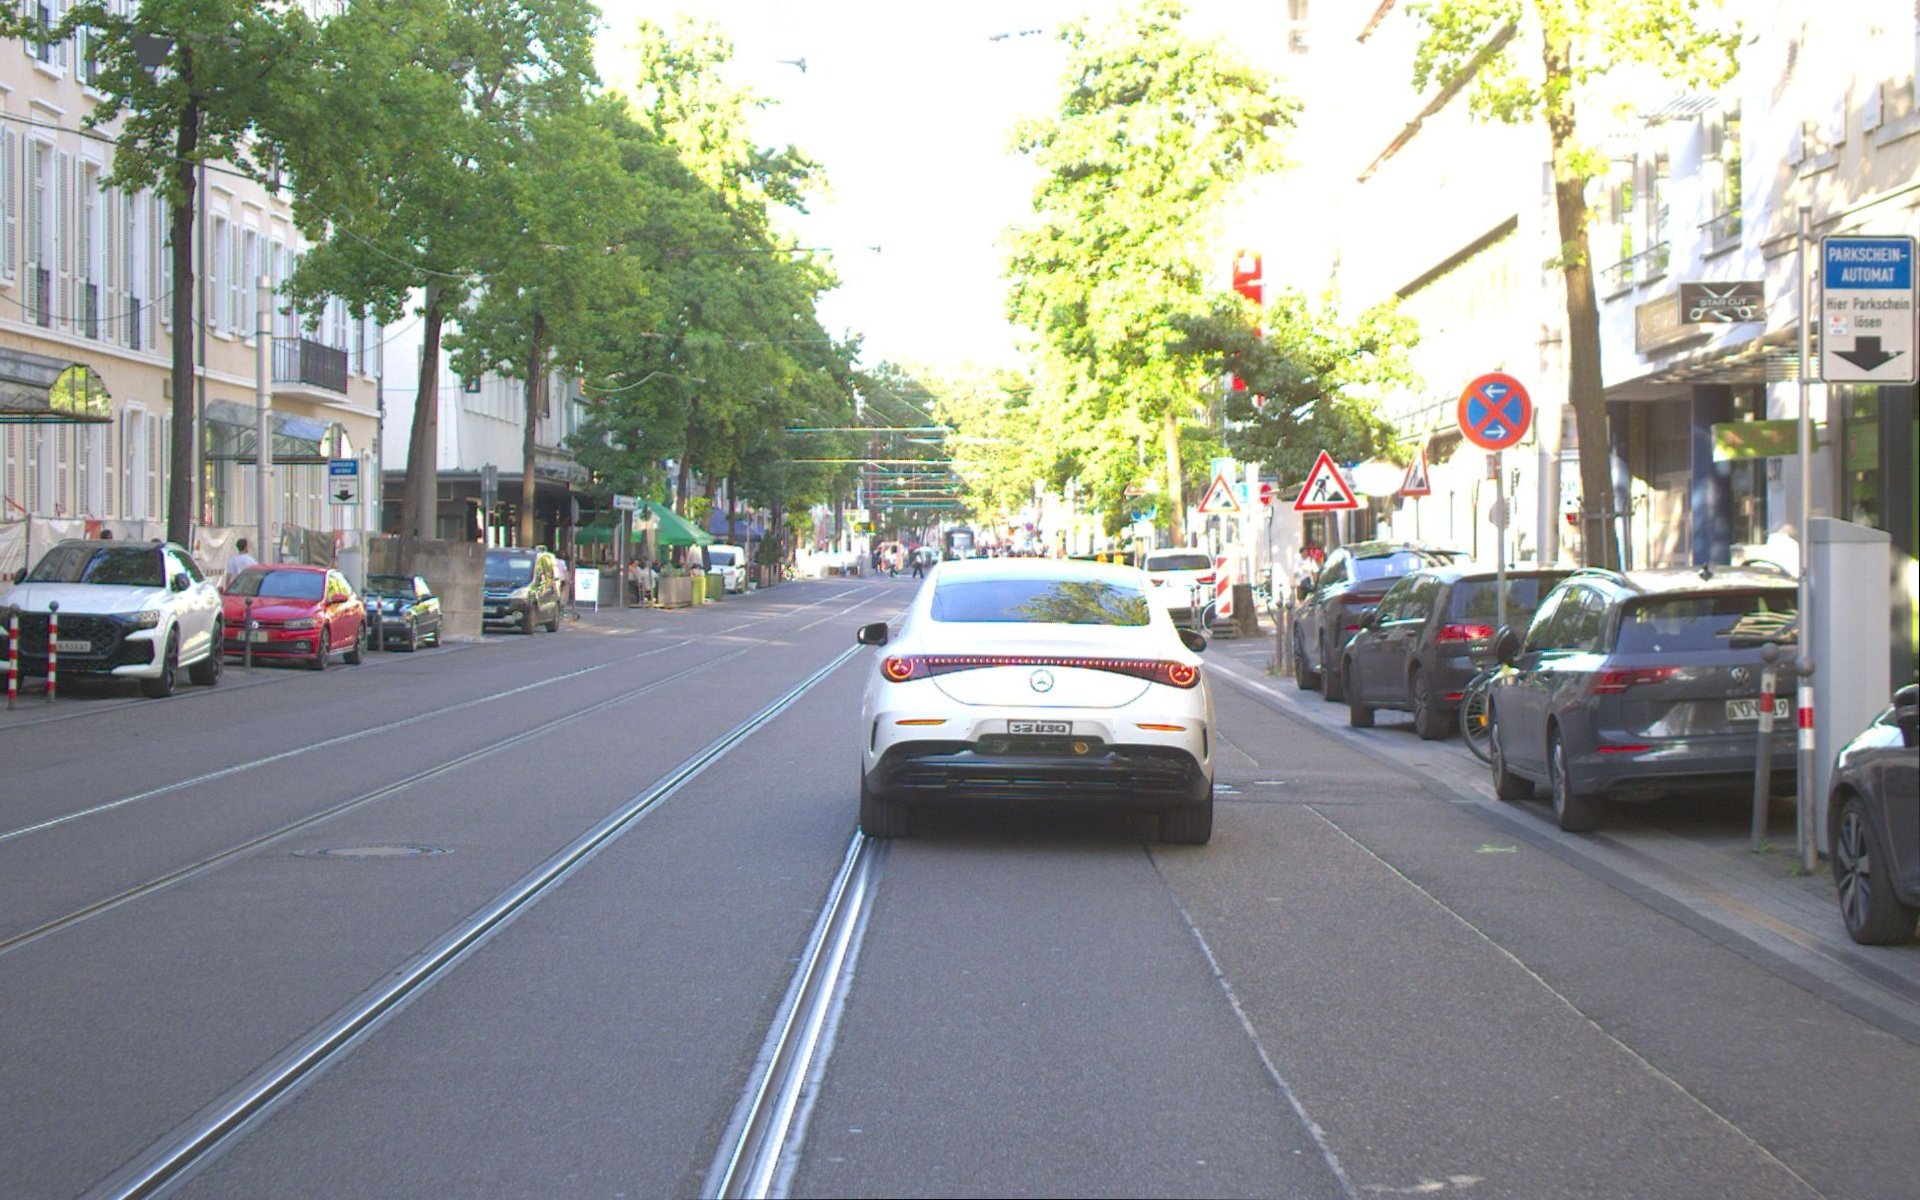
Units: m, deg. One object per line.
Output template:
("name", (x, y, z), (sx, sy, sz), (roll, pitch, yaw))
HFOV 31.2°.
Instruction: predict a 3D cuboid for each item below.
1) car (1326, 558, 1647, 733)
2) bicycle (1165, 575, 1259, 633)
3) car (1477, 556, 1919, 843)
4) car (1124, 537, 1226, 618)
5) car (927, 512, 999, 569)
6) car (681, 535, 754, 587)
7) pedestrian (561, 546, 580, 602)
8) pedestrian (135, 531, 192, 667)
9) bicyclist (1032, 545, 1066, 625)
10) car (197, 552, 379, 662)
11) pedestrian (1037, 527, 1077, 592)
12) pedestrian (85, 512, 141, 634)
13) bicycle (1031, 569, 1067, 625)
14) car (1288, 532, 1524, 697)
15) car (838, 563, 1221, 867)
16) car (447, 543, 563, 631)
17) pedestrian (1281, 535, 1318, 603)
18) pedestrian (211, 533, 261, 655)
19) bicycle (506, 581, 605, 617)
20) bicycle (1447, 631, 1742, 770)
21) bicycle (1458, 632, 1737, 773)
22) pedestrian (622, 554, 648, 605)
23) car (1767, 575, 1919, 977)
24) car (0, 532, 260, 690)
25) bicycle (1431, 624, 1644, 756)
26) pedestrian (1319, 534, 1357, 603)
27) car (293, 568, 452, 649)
("car", (4.534, 0.345, 30.208), (1.837, 1.431, 4.001), (0, 1, -6))
("bicycle", (4.673, 0.074, 63.843), (1.723, 1.058, 0.581), (0, 1, 4))
("car", (4.243, 0.505, 20.297), (1.871, 1.448, 4.106), (-2, 1, 2))
("car", (4.650, -0.511, 74.836), (1.993, 1.722, 4.241), (0, 1, 1))
("car", (0.164, -3.357, 196.285), (4.039, 3.103, 8.431), (0, 0, 0))
("car", (-9.412, -1.519, 133.688), (1.994, 2.007, 3.999), (0, 1, 9))
("pedestrian", (-11.680, -0.782, 103.097), (0.517, 1.647, 0.650), (0, 1, 0))
("pedestrian", (-11.776, -0.024, 50.847), (0.707, 1.997, 0.675), (0, 1, -3))
("bicyclist", (1.910, -0.324, 73.901), (0.724, 1.697, 0.811), (0, 0, 1))
("car", (-9.604, 0.076, 49.441), (1.689, 1.494, 4.234), (1, 1, 1))
("pedestrian", (2.667, -1.112, 94.679), (0.919, 1.768, 0.874), (0, 1, -14))
("pedestrian", (-12.590, -0.398, 51.129), (0.707, 1.800, 0.675), (0, 1, -5))
("bicycle", (1.908, -0.074, 73.908), (0.740, 1.184, 2.160), (0, 0, 1))
("car", (4.855, 0.108, 38.073), (1.993, 1.707, 4.866), (0, 1, 0))
("car", (0.424, 0.539, 18.773), (1.868, 1.464, 4.042), (0, 1, 3))
("car", (-9.392, -0.292, 71.199), (1.553, 1.789, 3.166), (0, 1, 9))
("pedestrian", (8.780, -0.809, 88.964), (0.799, 1.768, 0.683), (0, 1, -11))
("pedestrian", (-11.886, -0.105, 56.467), (0.707, 1.997, 0.675), (0, 1, -3))
("bicycle", (-9.536, -0.017, 81.035), (2.255, 0.827, 0.716), (0, 1, 23))
("bicycle", (4.481, 0.709, 24.339), (2.038, 0.961, 0.282), (0, 1, 6))
("bicycle", (4.440, 0.709, 24.000), (1.896, 0.961, 0.332), (0, 1, 6))
("pedestrian", (-9.669, -0.614, 102.249), (0.517, 1.473, 0.650), (-3, 0, -27))
("car", (4.500, 0.643, 12.589), (1.814, 1.481, 4.001), (-2, 1, -5))
("car", (-9.613, 0.096, 39.554), (1.962, 1.686, 5.013), (1, 1, 1))
("bicycle", (4.318, 0.670, 25.754), (1.538, 0.961, 0.496), (0, 1, 5))
("pedestrian", (9.756, -0.811, 88.640), (0.799, 1.768, 0.683), (0, 1, -11))
("car", (-9.889, 0.119, 58.162), (1.993, 1.288, 4.000), (0, 1, 0))
